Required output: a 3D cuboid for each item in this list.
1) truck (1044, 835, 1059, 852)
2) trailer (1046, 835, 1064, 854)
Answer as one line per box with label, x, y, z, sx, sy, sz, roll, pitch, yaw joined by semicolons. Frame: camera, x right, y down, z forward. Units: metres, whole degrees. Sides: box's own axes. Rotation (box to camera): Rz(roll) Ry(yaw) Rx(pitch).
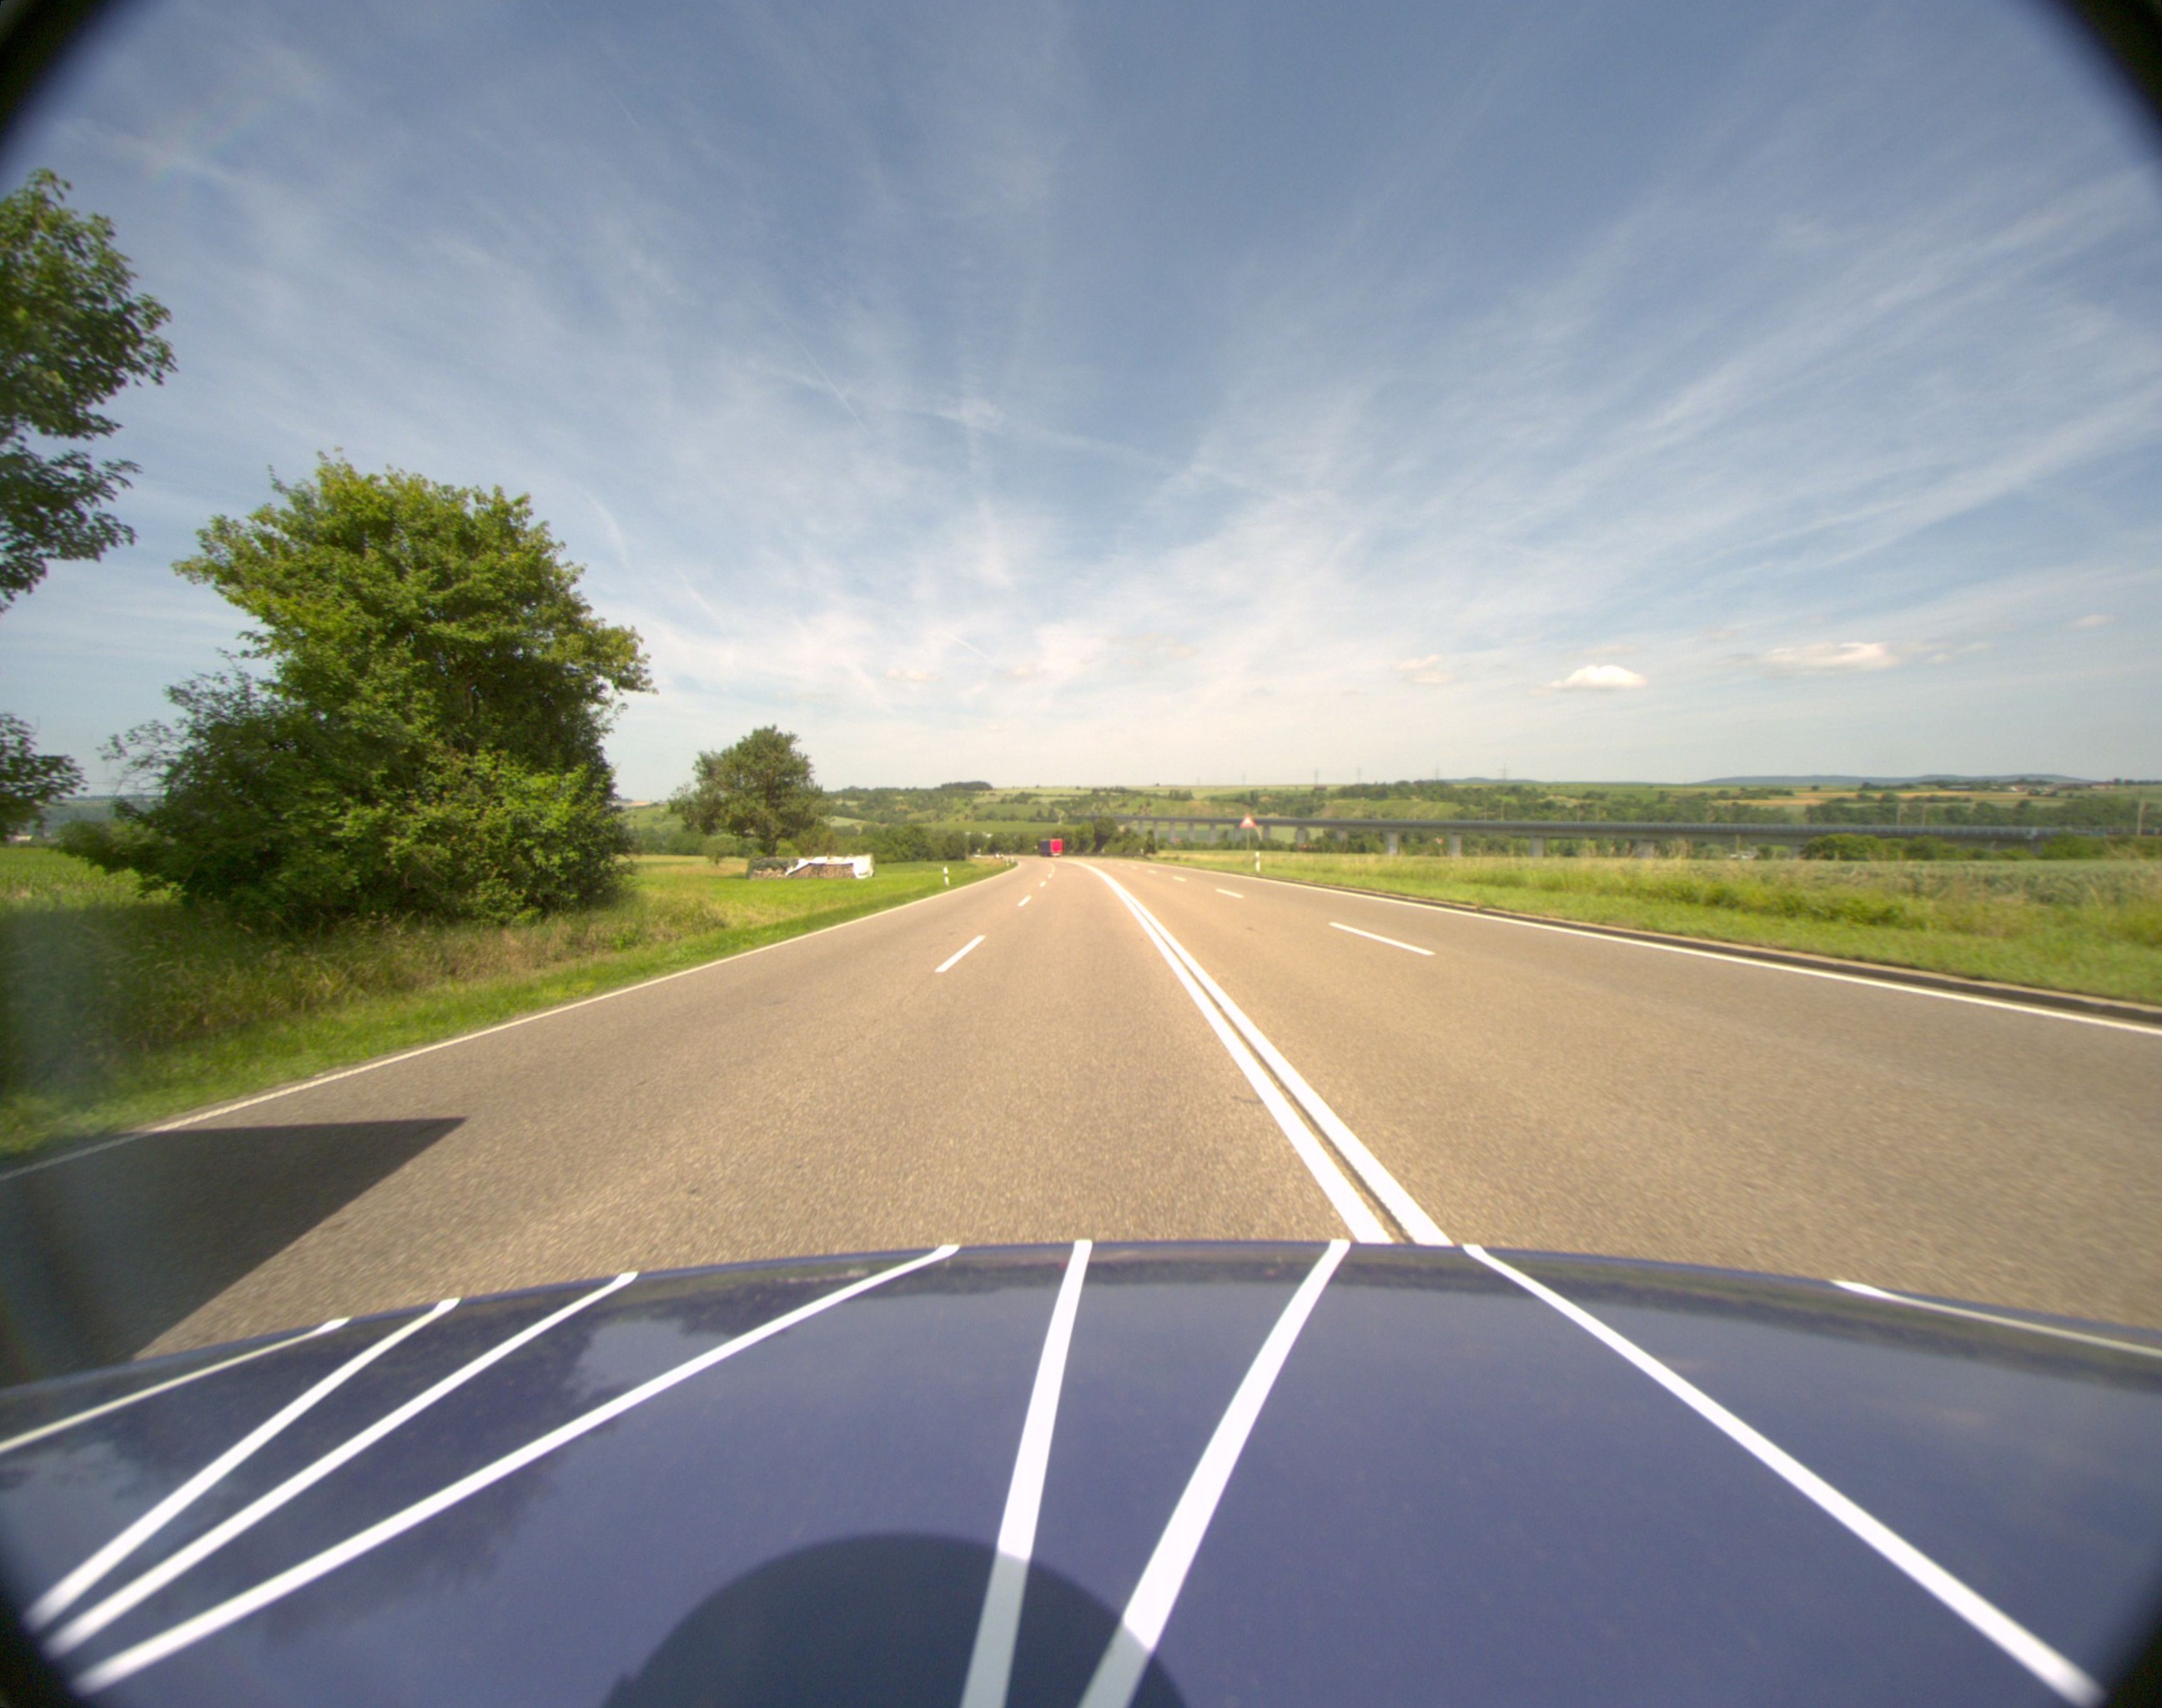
truck;-7.267;-2.614;185.754;2.626;4.078;6.082;-2;1;-10
trailer;-6.166;-2.225;179.084;2.553;4.078;13.570;-2;1;-9
